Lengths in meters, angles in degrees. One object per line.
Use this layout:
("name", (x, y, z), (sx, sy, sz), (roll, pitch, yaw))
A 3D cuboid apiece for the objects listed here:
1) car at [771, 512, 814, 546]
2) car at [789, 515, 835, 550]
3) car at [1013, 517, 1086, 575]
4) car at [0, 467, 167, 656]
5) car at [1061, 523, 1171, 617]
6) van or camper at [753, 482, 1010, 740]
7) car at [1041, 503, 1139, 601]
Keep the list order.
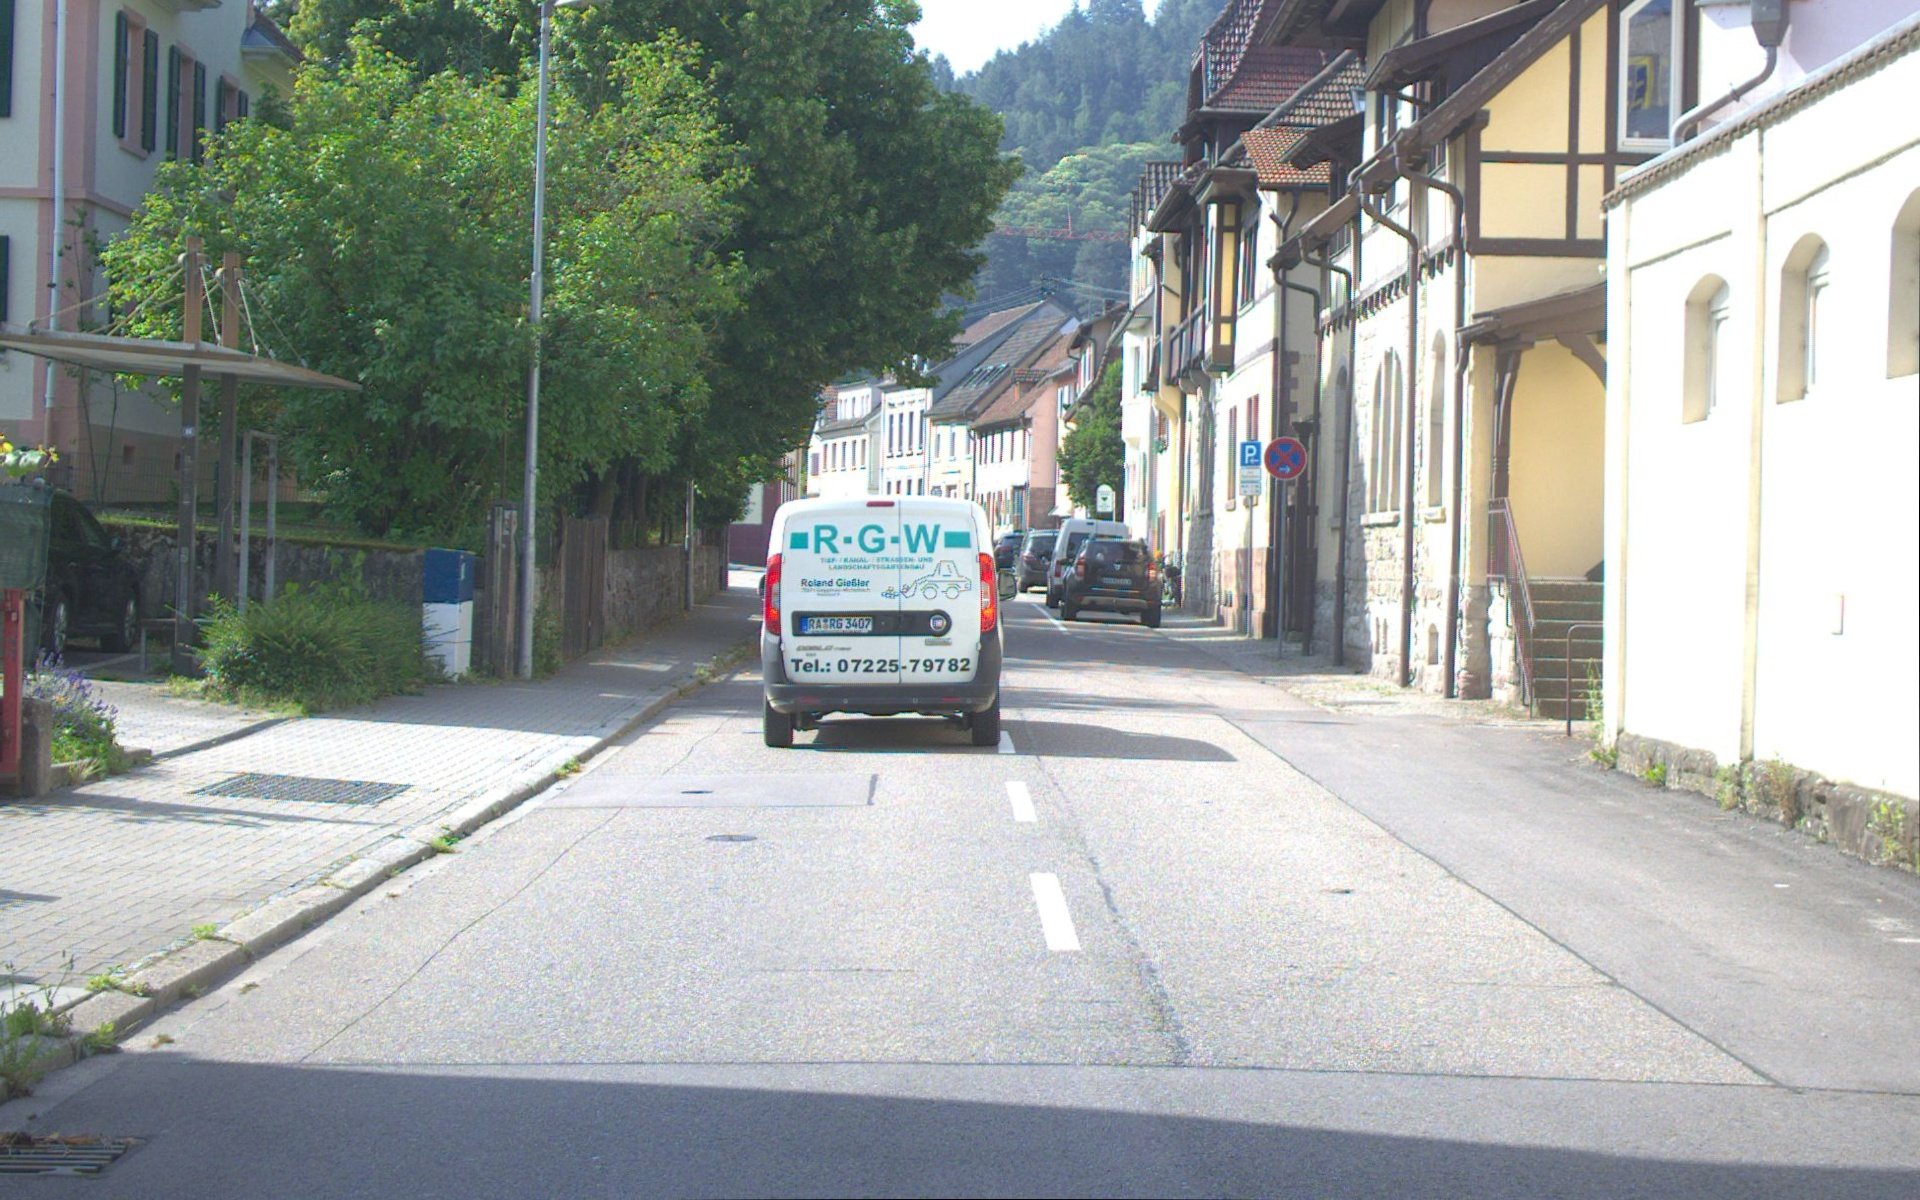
("car", (-9.319, -3.941, 191.190), (1.771, 1.792, 4.001), (2, 1, -12))
("car", (-7.954, -3.645, 184.660), (1.771, 1.792, 4.001), (2, 1, -12))
("car", (2.384, -1.450, 92.045), (1.669, 1.503, 4.001), (1, 1, -2))
("car", (-8.203, -0.394, 29.756), (1.615, 1.457, 4.394), (4, 2, -1))
("car", (2.932, -0.598, 65.381), (1.810, 1.591, 3.927), (4, 1, 0))
("van or camper", (-0.617, 0.040, 26.736), (1.828, 1.838, 4.189), (0, 1, -1))
("car", (2.837, -1.065, 75.709), (1.871, 2.007, 4.000), (2, 1, -1))
